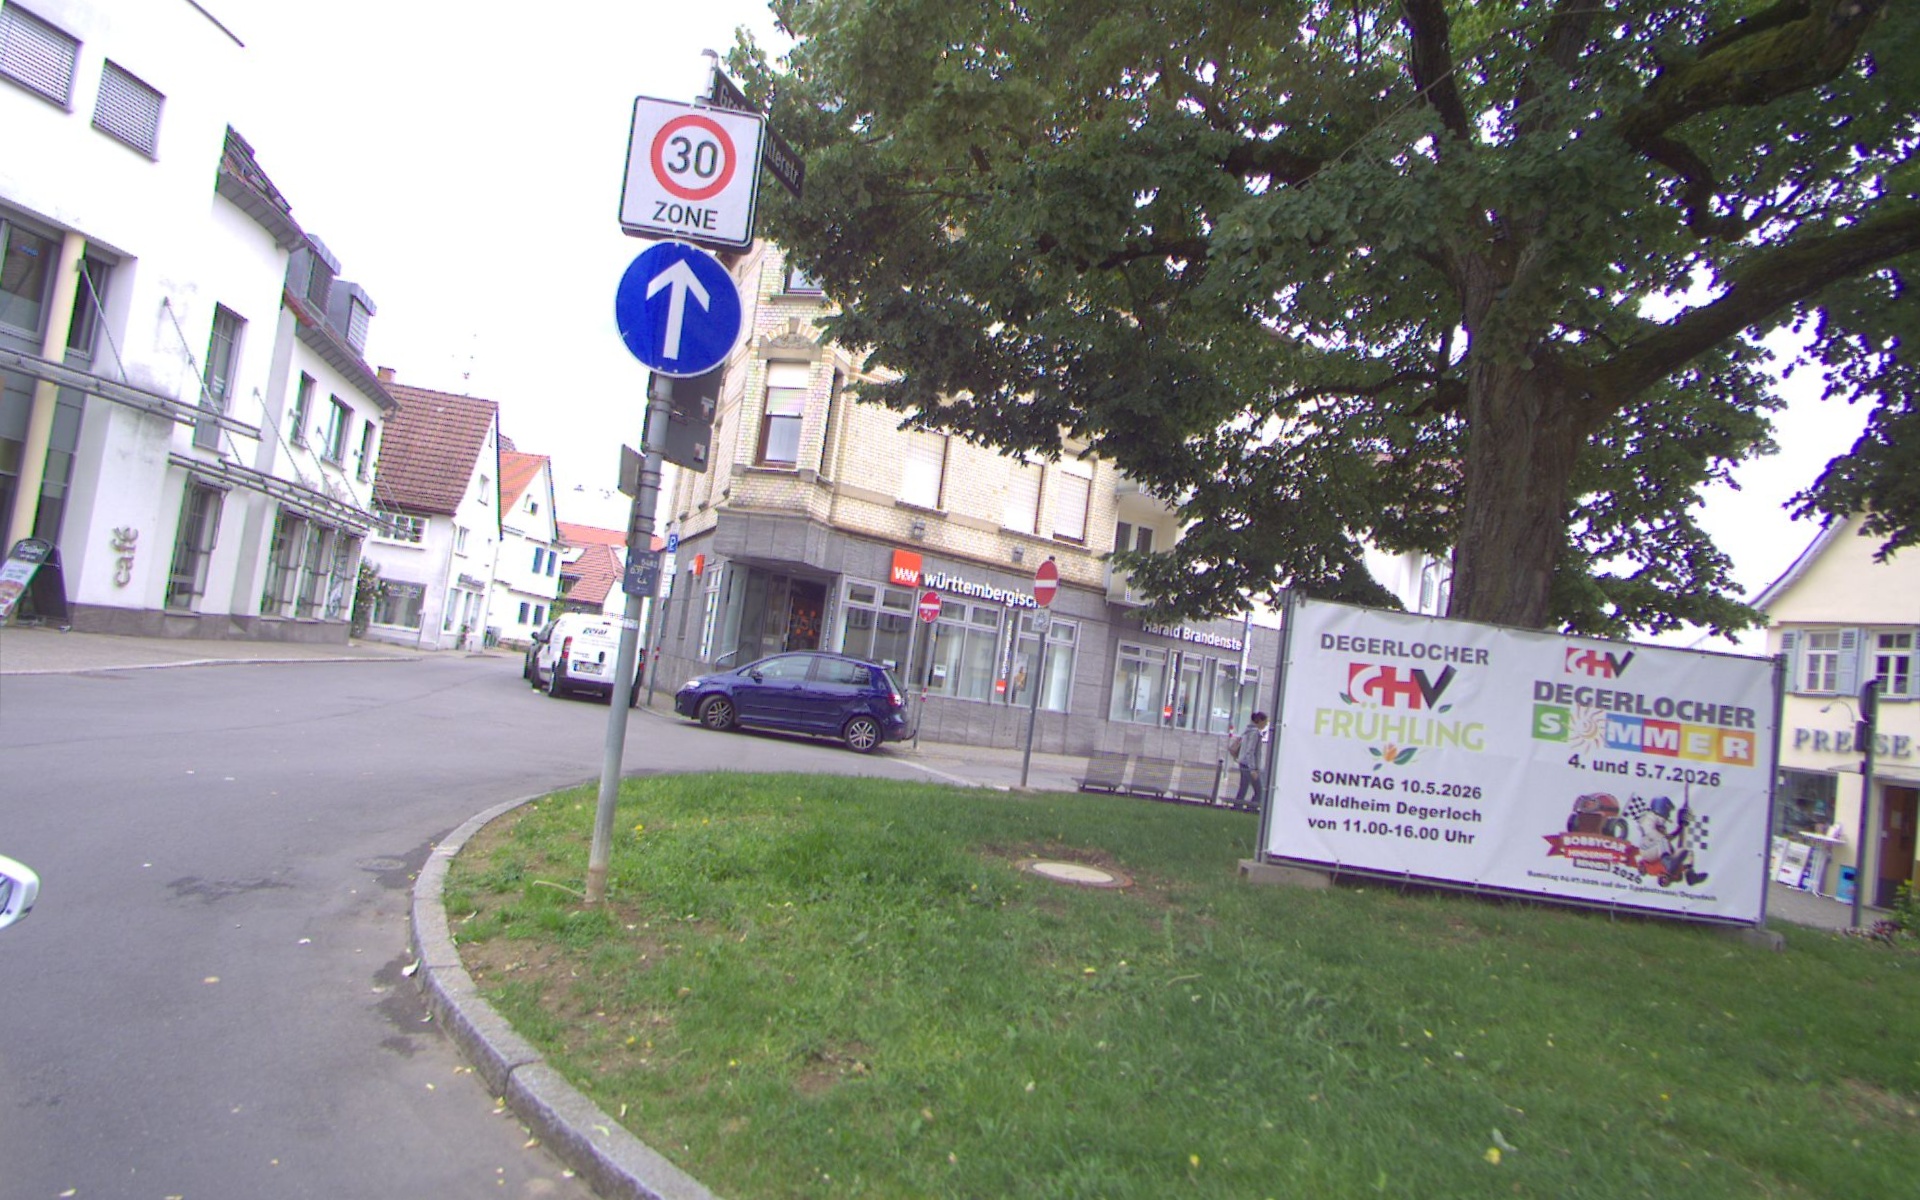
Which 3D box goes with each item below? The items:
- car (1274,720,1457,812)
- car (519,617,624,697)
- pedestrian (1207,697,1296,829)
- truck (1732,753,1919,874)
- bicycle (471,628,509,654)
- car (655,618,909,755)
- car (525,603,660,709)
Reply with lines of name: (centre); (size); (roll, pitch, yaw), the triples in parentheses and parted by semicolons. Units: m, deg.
car: (10.280, 4.215, 25.434); (4.348, 1.562, 2.107); (13, -5, -33)
car: (-10.028, 1.408, 25.742); (1.775, 1.616, 4.516); (11, -6, -27)
pedestrian: (4.292, 2.392, 14.820); (0.706, 1.762, 0.788); (11, -4, -36)
truck: (25.181, 6.212, 29.205); (5.253, 2.718, 2.818); (12, -5, -34)
bicycle: (-22.712, 1.983, 48.613); (0.435, 1.049, 2.098); (11, -4, 8)
car: (-3.031, 1.545, 17.803); (3.949, 1.720, 1.867); (9, -6, 0)
car: (-7.891, 1.130, 21.357); (1.813, 1.810, 4.192); (11, -5, -29)
